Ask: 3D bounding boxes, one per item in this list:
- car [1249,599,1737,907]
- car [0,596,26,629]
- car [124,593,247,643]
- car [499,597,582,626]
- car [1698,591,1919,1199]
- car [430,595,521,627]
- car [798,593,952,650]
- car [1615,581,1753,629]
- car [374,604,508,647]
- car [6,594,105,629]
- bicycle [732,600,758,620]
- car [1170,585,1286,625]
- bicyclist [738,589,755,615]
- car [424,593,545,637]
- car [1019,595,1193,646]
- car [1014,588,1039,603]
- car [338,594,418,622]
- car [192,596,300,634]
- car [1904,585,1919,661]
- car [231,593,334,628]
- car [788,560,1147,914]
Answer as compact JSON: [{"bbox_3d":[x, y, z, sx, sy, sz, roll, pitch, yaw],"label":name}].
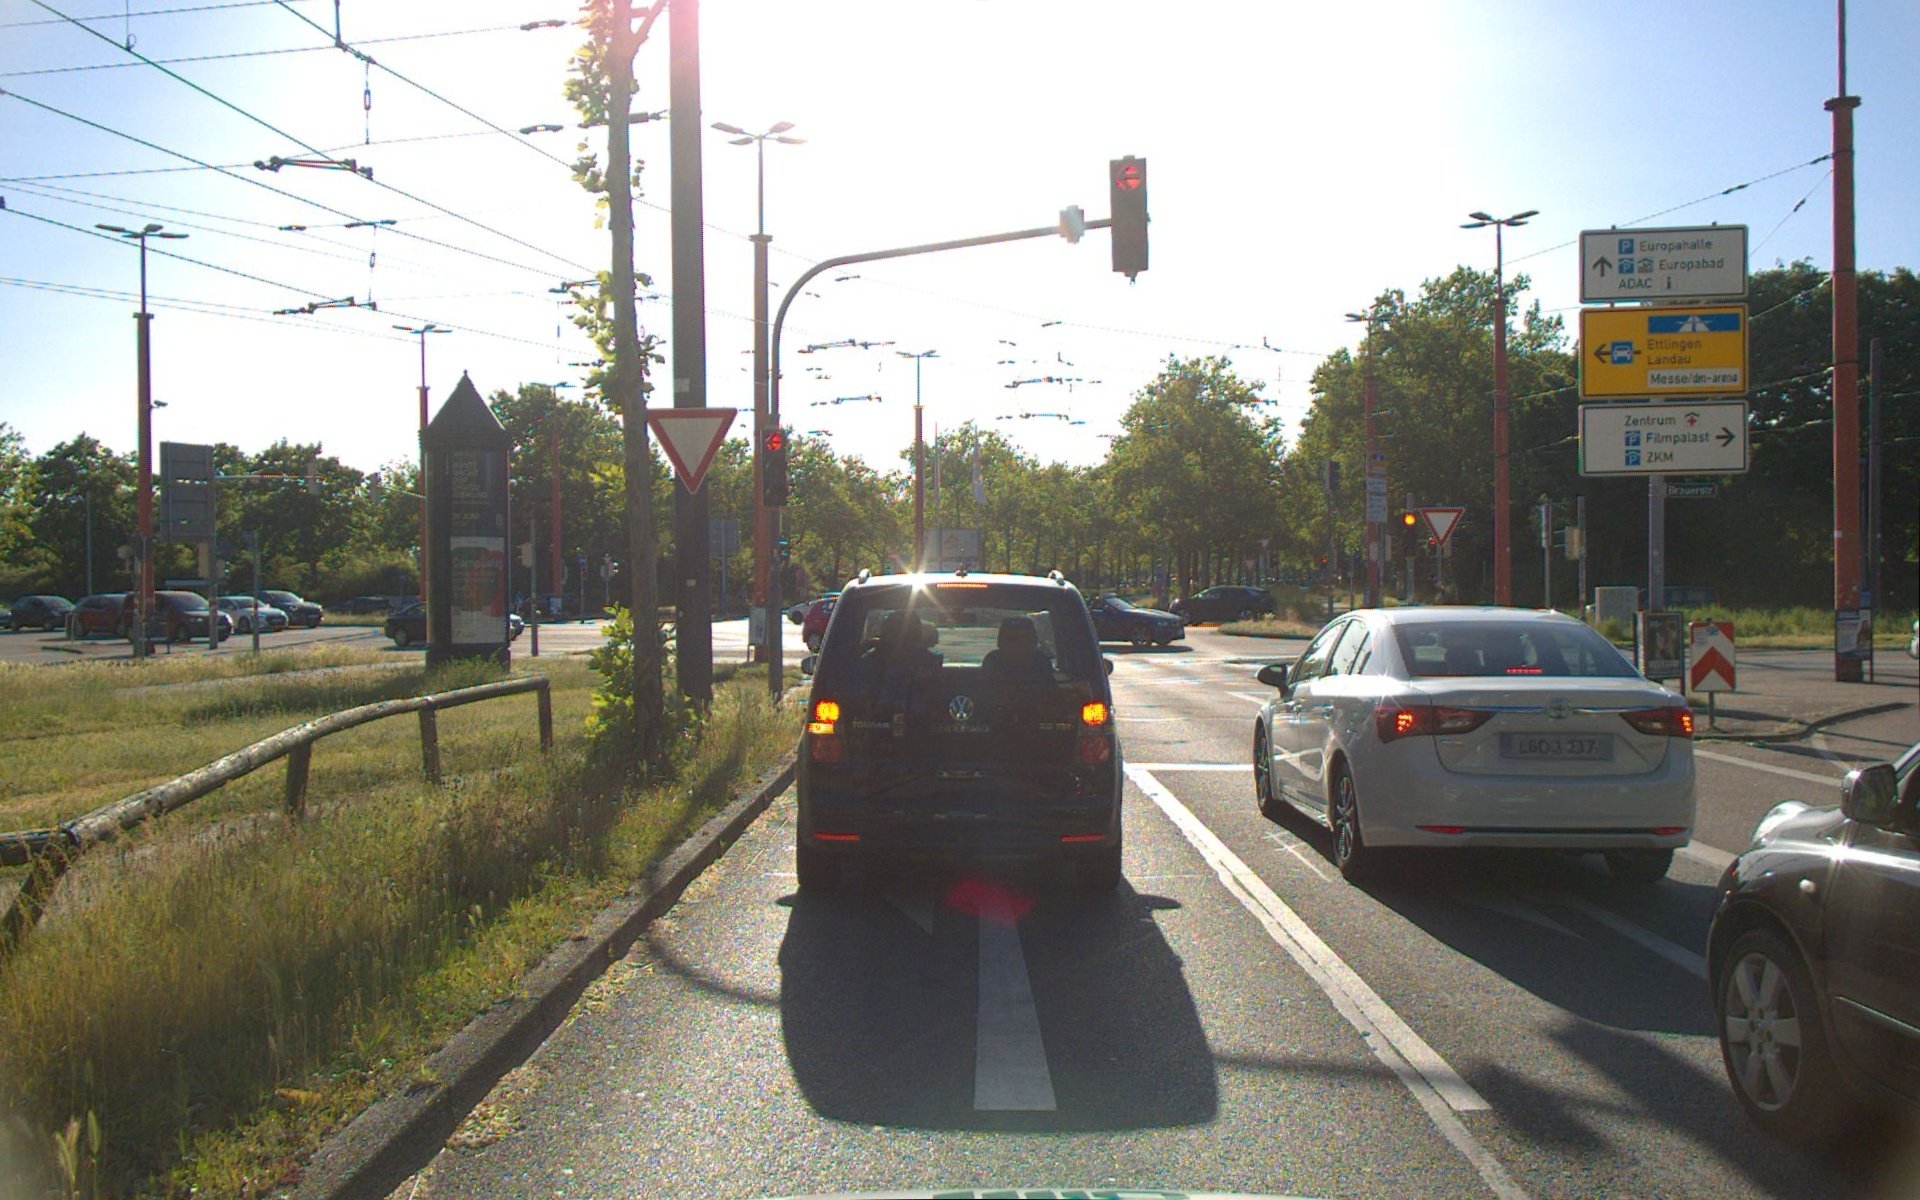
[{"bbox_3d":[2.949,0.739,10.103,1.679,1.480,4.144,0,0,0],"label":"car"},{"bbox_3d":[-45.050,0.579,75.764,4.143,1.489,1.913,0,0,26],"label":"car"},{"bbox_3d":[-28.036,0.620,59.855,4.261,1.762,1.840,0,0,28],"label":"car"},{"bbox_3d":[-24.297,0.659,95.848,4.398,1.624,1.984,0,0,-26],"label":"car"},{"bbox_3d":[3.129,0.742,3.503,1.525,1.532,3.515,0,0,-1],"label":"car"},{"bbox_3d":[-25.432,0.563,86.769,4.365,1.624,1.998,0,0,26],"label":"car"},{"bbox_3d":[-2.362,0.563,45.691,3.909,1.521,1.769,0,0,27],"label":"car"},{"bbox_3d":[25.349,0.156,57.914,4.365,1.624,1.998,0,0,26],"label":"car"},{"bbox_3d":[-16.790,0.798,53.470,4.223,1.350,1.758,0,0,29],"label":"car"},{"bbox_3d":[-40.001,0.502,73.156,3.963,1.489,1.912,0,0,26],"label":"car"},{"bbox_3d":[-12.229,0.566,94.213,0.719,1.109,1.962,0,0,18],"label":"bicycle"},{"bbox_3d":[11.043,0.192,68.193,4.365,1.624,1.998,0,0,26],"label":"car"},{"bbox_3d":[-12.198,0.091,94.433,0.678,1.483,0.875,0,0,17],"label":"bicyclist"},{"bbox_3d":[-16.804,0.514,58.432,4.140,1.505,1.751,0,0,29],"label":"car"},{"bbox_3d":[4.103,0.552,46.625,4.564,1.386,1.769,0,0,28],"label":"car"},{"bbox_3d":[7.573,-0.518,187.423,1.951,1.714,4.833,0,0,12],"label":"car"},{"bbox_3d":[-34.270,0.474,97.358,4.365,1.624,1.998,0,0,26],"label":"car"},{"bbox_3d":[-29.344,0.602,67.986,4.127,1.489,1.912,0,0,27],"label":"car"},{"bbox_3d":[21.706,0.458,33.263,4.664,1.521,1.769,0,0,28],"label":"car"},{"bbox_3d":[-29.264,0.447,71.394,4.127,1.489,1.912,0,0,27],"label":"car"},{"bbox_3d":[0.008,0.643,9.858,1.702,1.670,3.999,0,0,-1],"label":"car"}]
